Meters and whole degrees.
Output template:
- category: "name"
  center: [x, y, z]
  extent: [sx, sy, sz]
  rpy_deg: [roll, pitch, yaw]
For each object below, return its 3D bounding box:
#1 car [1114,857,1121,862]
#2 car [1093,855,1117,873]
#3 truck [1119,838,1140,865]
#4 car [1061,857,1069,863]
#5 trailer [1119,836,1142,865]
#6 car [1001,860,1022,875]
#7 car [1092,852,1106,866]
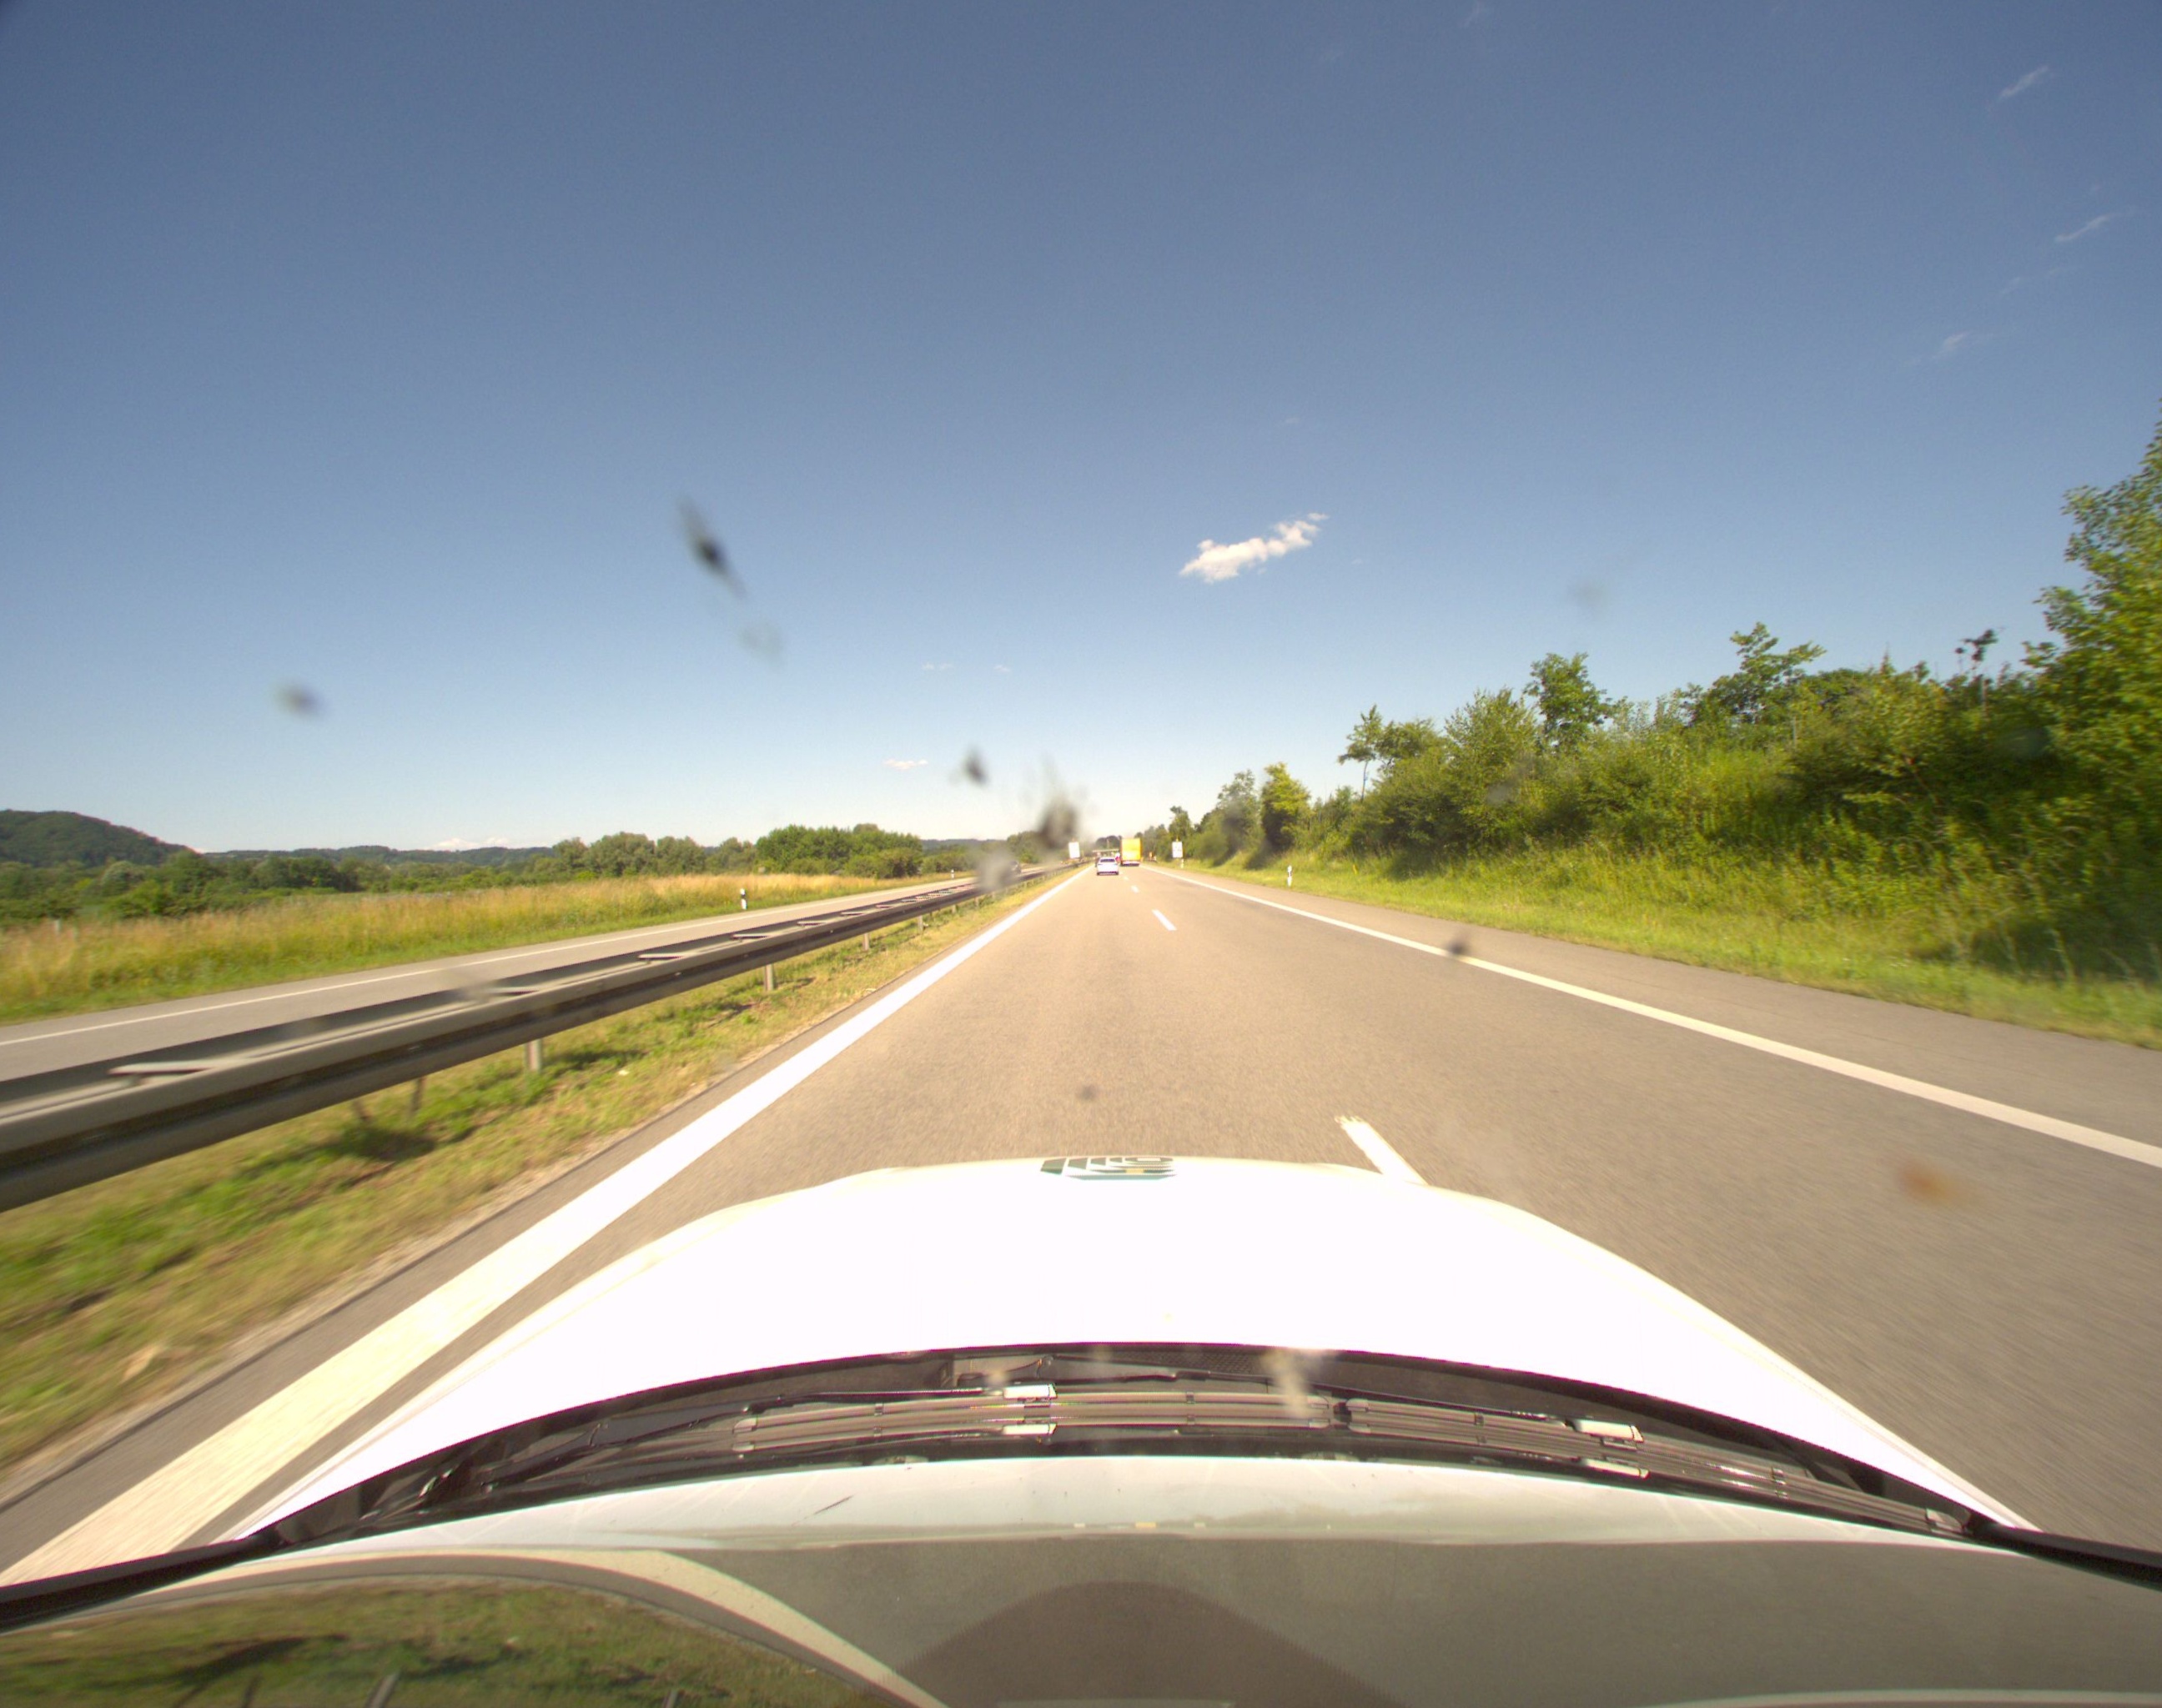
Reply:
- category: "car"
  center: [11.393, 1.704, 255.237]
  extent: [1.895, 1.683, 4.733]
  rpy_deg: [0, 0, 2]
- category: "car"
  center: [1.998, 0.818, 65.921]
  extent: [1.835, 1.415, 4.003]
  rpy_deg: [-1, 0, 3]
- category: "truck"
  center: [7.658, -0.409, 129.091]
  extent: [3.157, 4.114, 6.390]
  rpy_deg: [-1, -1, 1]
- category: "car"
  center: [-4.201, 1.658, 211.280]
  extent: [1.826, 1.398, 4.923]
  rpy_deg: [-5, 0, 1]
- category: "trailer"
  center: [7.383, -0.471, 122.993]
  extent: [3.172, 4.059, 13.193]
  rpy_deg: [-1, 0, 2]
- category: "car"
  center: [-8.617, 1.654, 101.209]
  extent: [1.895, 1.683, 4.733]
  rpy_deg: [-3, -1, 2]
- category: "car"
  center: [2.575, 0.764, 117.621]
  extent: [1.986, 2.014, 4.001]
  rpy_deg: [-1, 0, 1]
